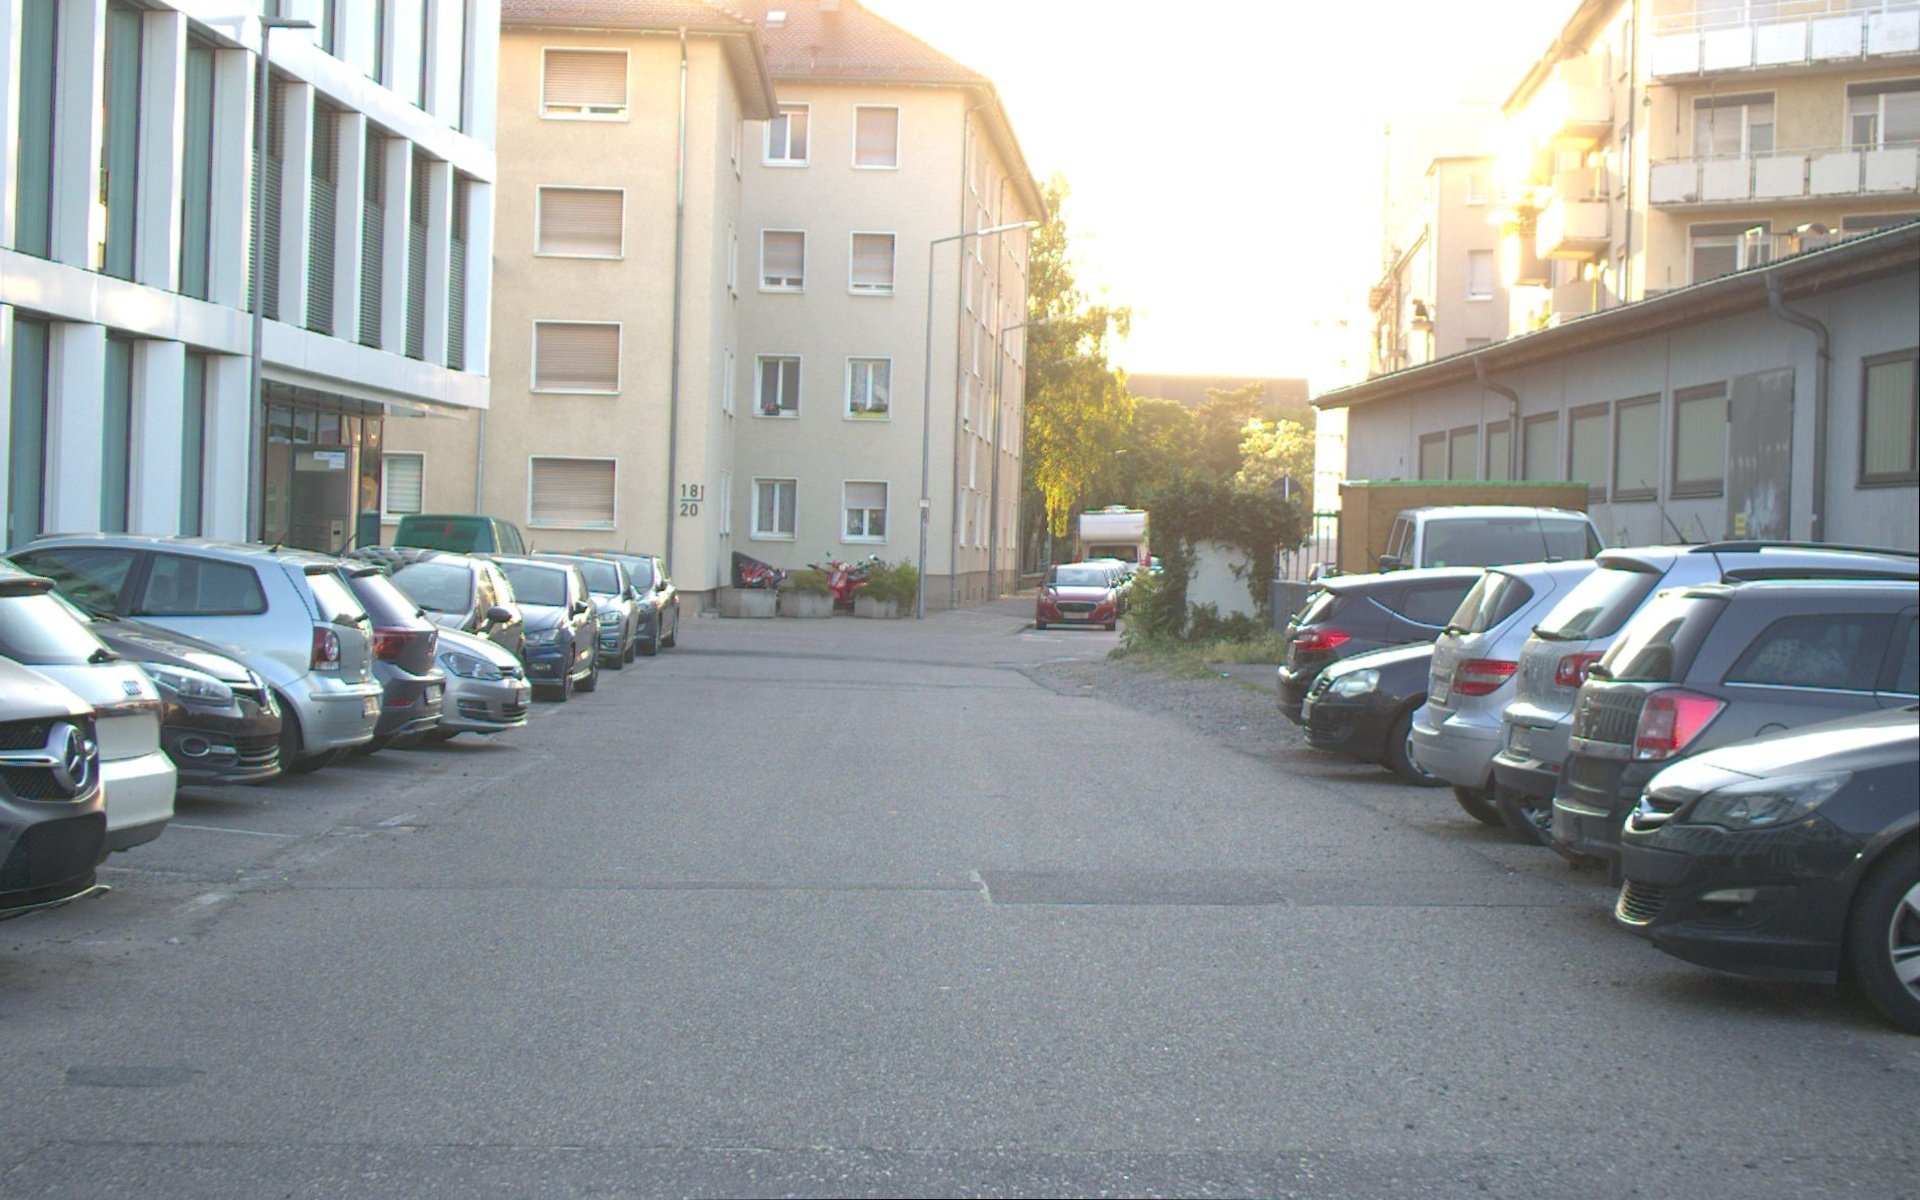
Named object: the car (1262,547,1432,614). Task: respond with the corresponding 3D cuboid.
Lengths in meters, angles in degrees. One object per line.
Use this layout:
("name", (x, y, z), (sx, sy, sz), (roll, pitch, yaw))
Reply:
("car", (11.079, -0.551, 98.677), (4.722, 1.903, 2.059), (0, 0, 3))

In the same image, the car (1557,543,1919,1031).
("car", (4.308, 0.670, 11.713), (4.203, 1.498, 1.890), (3, 0, 2))

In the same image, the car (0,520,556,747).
("car", (-5.251, 0.230, 26.609), (3.927, 1.506, 1.687), (3, 1, 4))

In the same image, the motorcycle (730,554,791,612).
("motorcycle", (-4.405, -0.375, 76.122), (0.724, 1.260, 2.079), (2, 1, 14))

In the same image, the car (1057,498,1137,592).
("car", (4.953, -1.962, 123.311), (2.620, 3.258, 7.695), (0, 1, 4))

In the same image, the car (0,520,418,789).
("car", (-5.456, 0.289, 21.827), (3.655, 1.506, 1.687), (3, 1, 3))

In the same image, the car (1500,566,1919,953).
("car", (4.392, 0.683, 14.254), (3.984, 1.440, 1.827), (3, 0, 1))

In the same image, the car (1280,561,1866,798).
("car", (4.279, 0.542, 24.417), (3.759, 1.439, 1.845), (3, 0, 0))

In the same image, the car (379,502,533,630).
("car", (-8.305, -0.602, 57.007), (1.798, 1.973, 4.690), (2, 2, 0))

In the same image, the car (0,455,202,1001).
("car", (-5.174, 0.270, 11.666), (4.620, 1.700, 2.004), (3, 1, 6))

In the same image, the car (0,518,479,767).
("car", (-5.359, 0.258, 23.985), (3.655, 1.506, 1.687), (3, 1, 3))

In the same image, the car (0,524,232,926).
("car", (-5.104, 0.396, 14.287), (3.667, 1.506, 1.696), (3, 1, 6))

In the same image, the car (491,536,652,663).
("car", (-5.157, -0.045, 46.094), (1.710, 1.474, 4.185), (5, 1, -2))

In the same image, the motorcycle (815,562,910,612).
("motorcycle", (-2.282, -0.316, 80.751), (2.125, 1.101, 0.560), (2, 1, 15))

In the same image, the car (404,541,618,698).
("car", (-4.729, 0.162, 36.734), (1.648, 1.434, 4.185), (5, 1, 0))

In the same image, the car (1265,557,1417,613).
("car", (11.152, -0.446, 100.764), (4.324, 1.632, 1.818), (0, 0, 3))

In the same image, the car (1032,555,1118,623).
("car", (2.625, -0.263, 78.080), (1.845, 1.468, 4.078), (2, 1, 2))

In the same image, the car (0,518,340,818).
("car", (-5.688, 0.292, 19.316), (3.965, 1.506, 1.796), (3, 1, 4))

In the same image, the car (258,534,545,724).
("car", (-4.904, 0.212, 30.714), (1.648, 1.434, 4.202), (5, 1, 2))

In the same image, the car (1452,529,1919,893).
("car", (4.611, 0.554, 16.953), (3.983, 1.613, 1.827), (3, 1, -3))

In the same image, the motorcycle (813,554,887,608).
("motorcycle", (-2.433, -0.412, 76.267), (0.690, 1.156, 2.031), (2, 1, 28))

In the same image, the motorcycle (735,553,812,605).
("motorcycle", (-3.998, -0.438, 73.798), (0.724, 1.075, 2.078), (2, 1, 25))

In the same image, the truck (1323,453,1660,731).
("truck", (4.625, -0.100, 30.807), (2.098, 2.193, 5.711), (2, 1, 0))

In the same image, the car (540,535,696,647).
("car", (-5.131, -0.169, 52.124), (1.779, 1.474, 4.331), (5, 1, 0))

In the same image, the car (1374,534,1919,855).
("car", (4.503, 0.526, 19.533), (3.983, 1.604, 1.939), (3, 1, 0))

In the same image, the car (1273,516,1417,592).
("car", (13.978, -1.663, 124.762), (4.822, 2.708, 2.134), (0, 1, 19))

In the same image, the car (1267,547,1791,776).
("car", (4.358, 0.445, 26.809), (3.759, 1.530, 1.891), (3, 2, 2))
